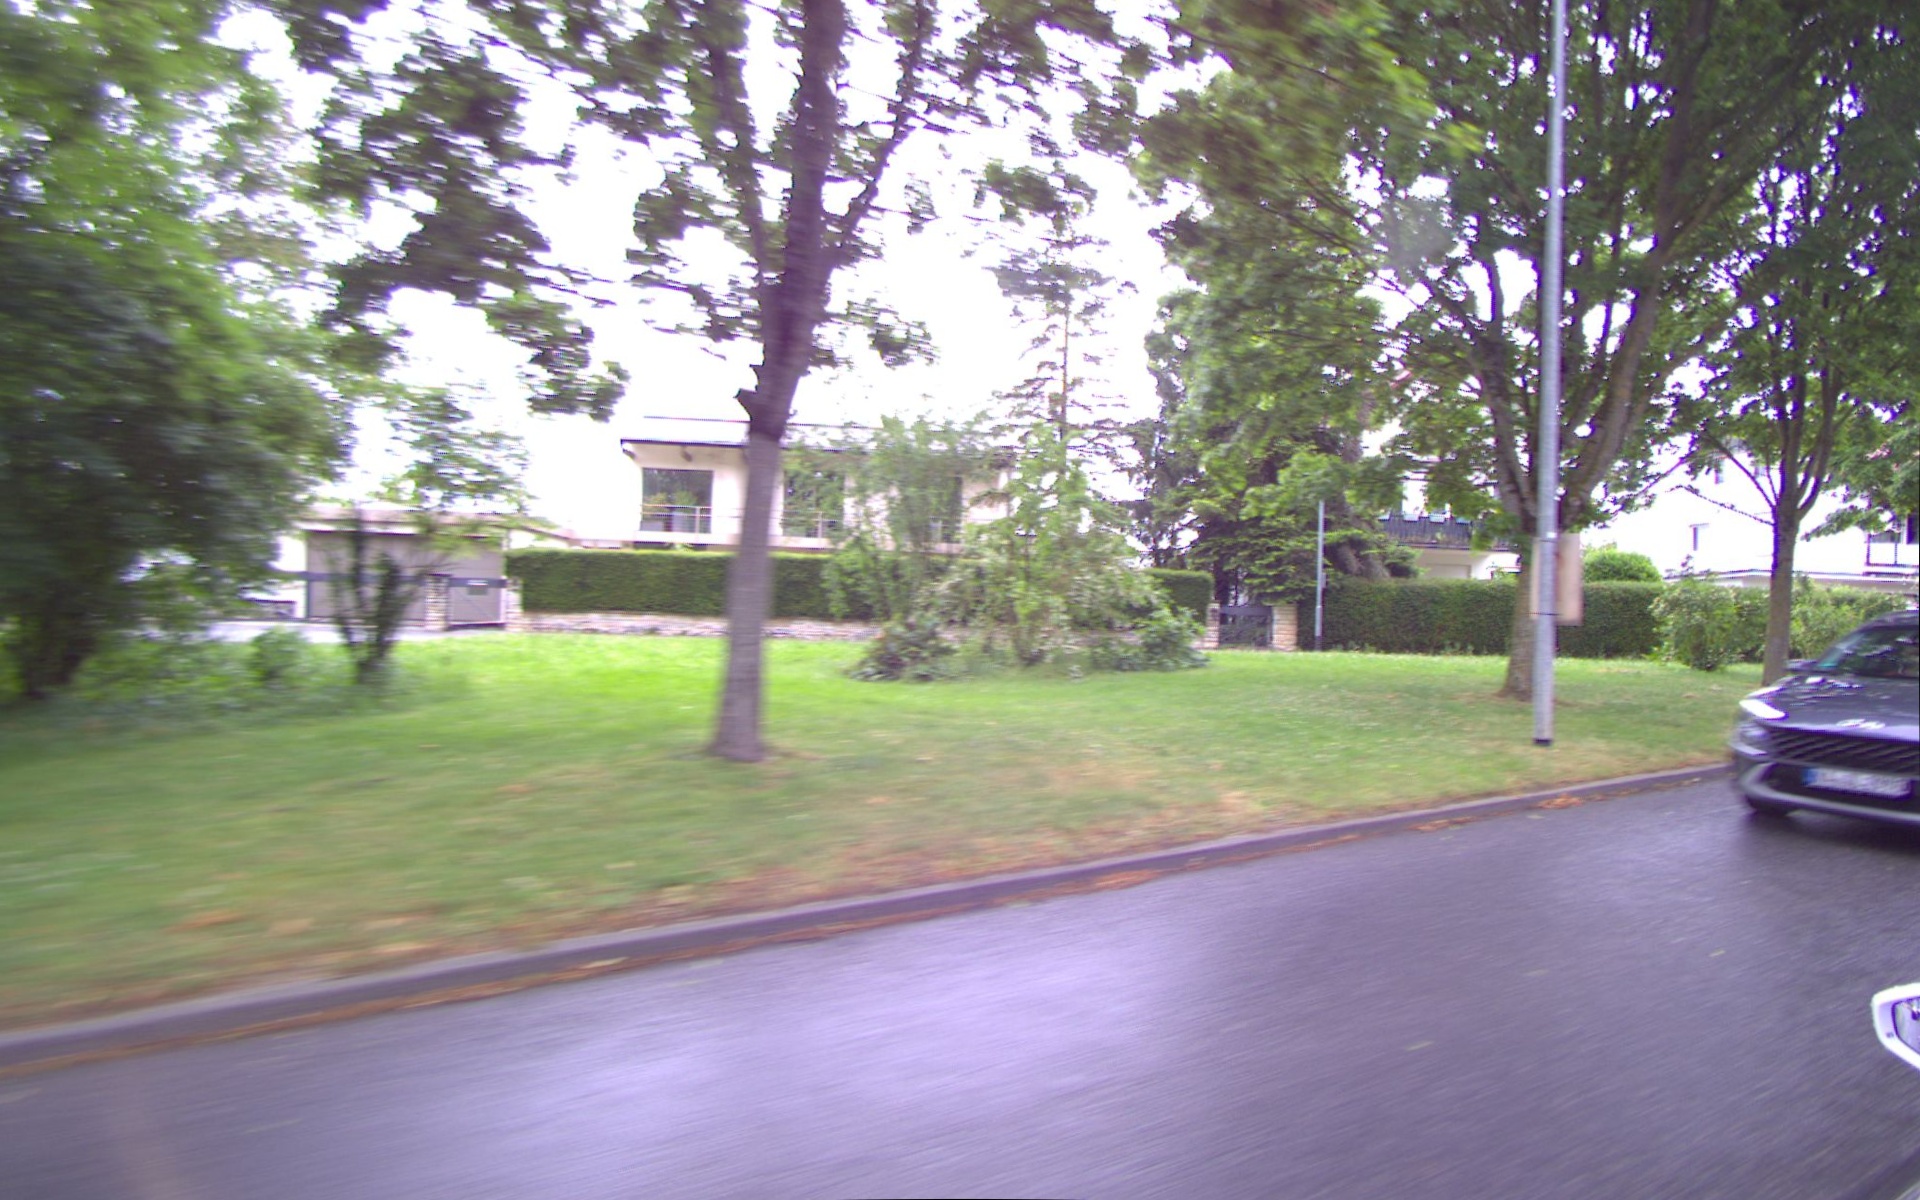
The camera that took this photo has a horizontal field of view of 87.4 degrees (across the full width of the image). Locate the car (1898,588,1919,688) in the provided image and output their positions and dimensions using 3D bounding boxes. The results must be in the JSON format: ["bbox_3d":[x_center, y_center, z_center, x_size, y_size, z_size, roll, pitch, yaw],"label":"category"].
[{"bbox_3d":[18.373,0.728,17.346,4.535,1.662,1.743,2,2,-28],"label":"car"}]

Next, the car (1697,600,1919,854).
[{"bbox_3d":[7.594,0.804,7.426,4.037,1.558,1.784,1,0,-26],"label":"car"}]
